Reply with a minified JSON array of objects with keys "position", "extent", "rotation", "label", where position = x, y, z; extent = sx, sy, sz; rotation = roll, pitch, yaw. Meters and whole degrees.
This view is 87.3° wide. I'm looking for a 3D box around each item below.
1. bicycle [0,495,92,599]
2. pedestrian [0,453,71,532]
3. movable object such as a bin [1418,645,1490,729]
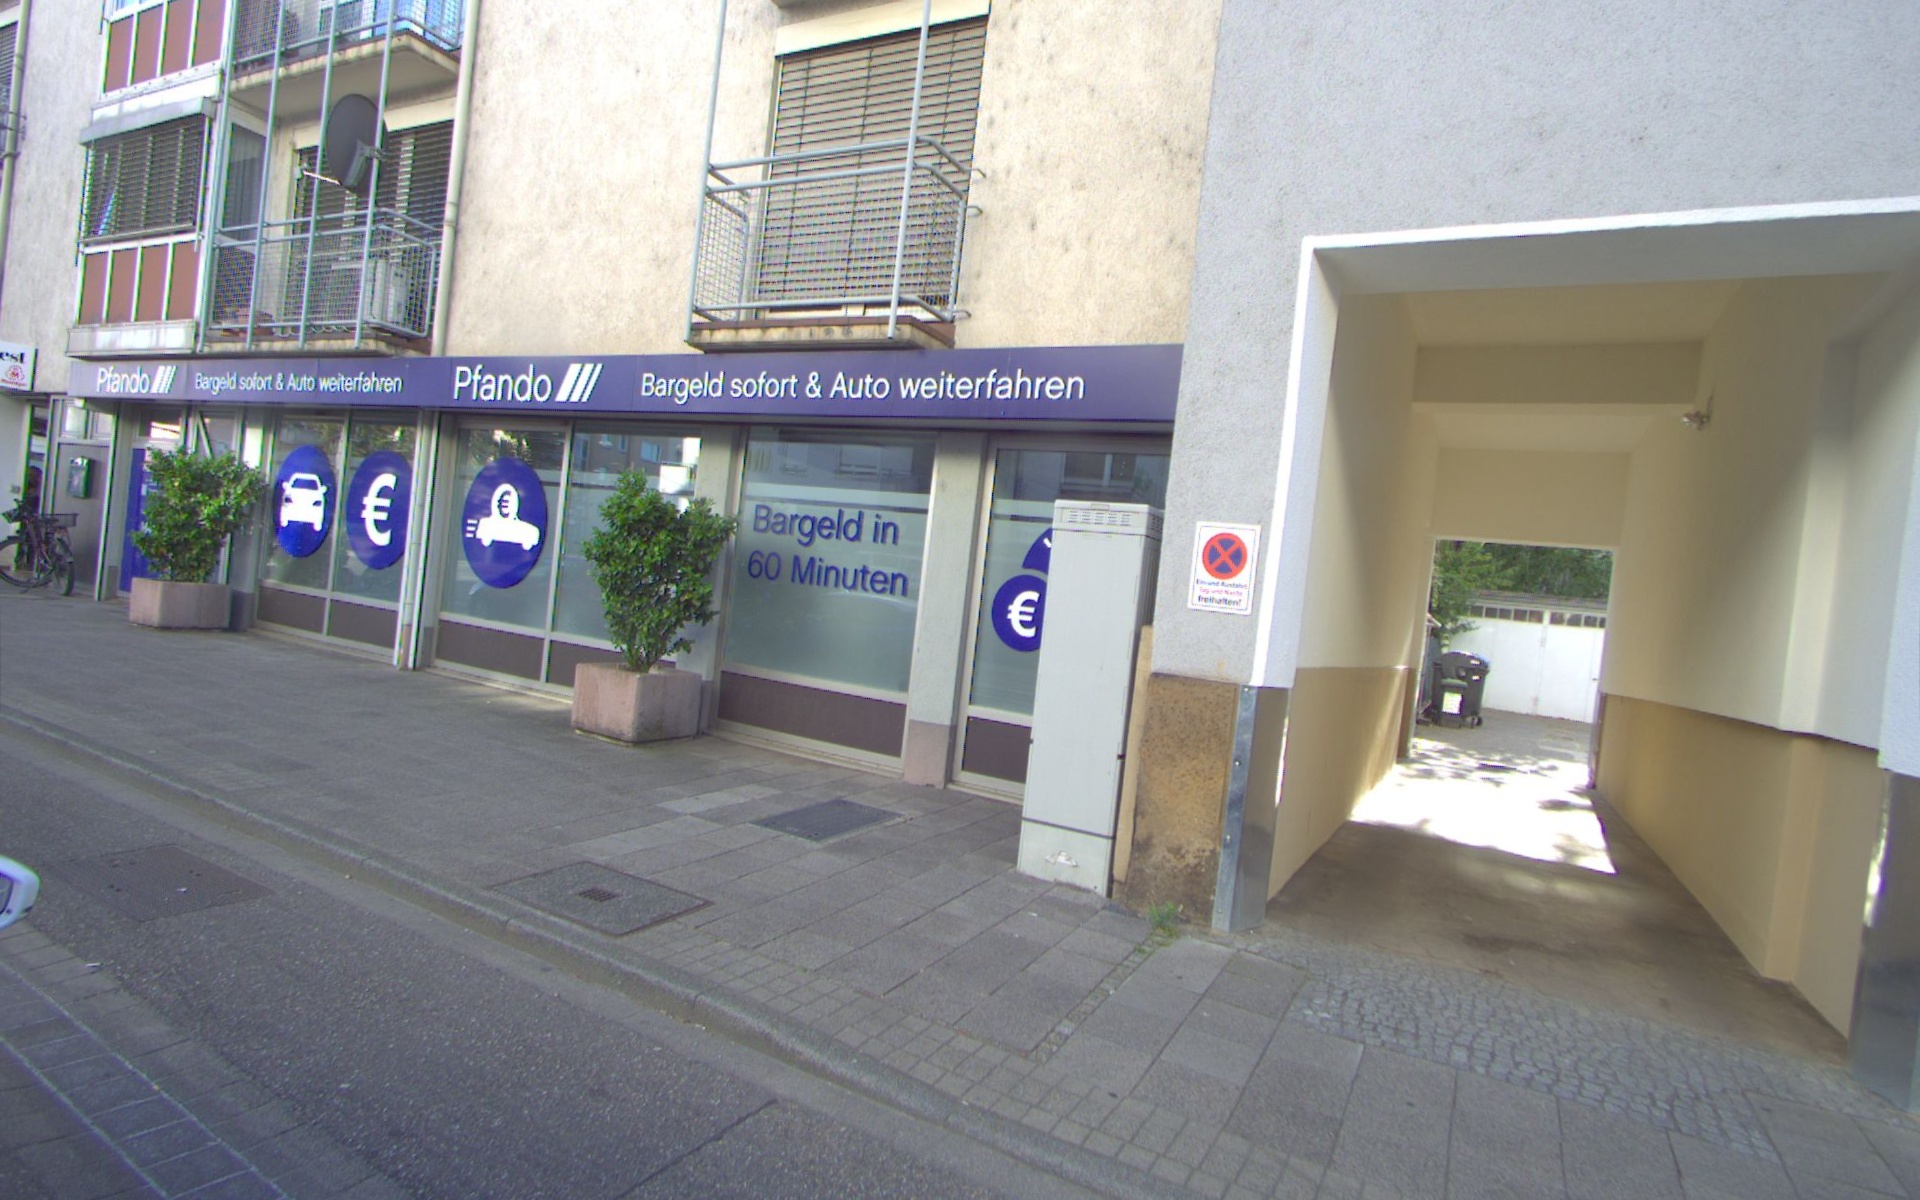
[{"position":[-11.858,-0.697,12.862],"extent":[1.747,1.176,0.497],"rotation":[6,0,29],"label":"bicycle"},{"position":[-14.276,-1.641,15.421],"extent":[0.667,1.102,0.624],"rotation":[7,2,-5],"label":"pedestrian"},{"position":[10.030,1.773,20.411],"extent":[1.092,1.511,1.329],"rotation":[6,-2,30],"label":"movable object such as a bin"}]
